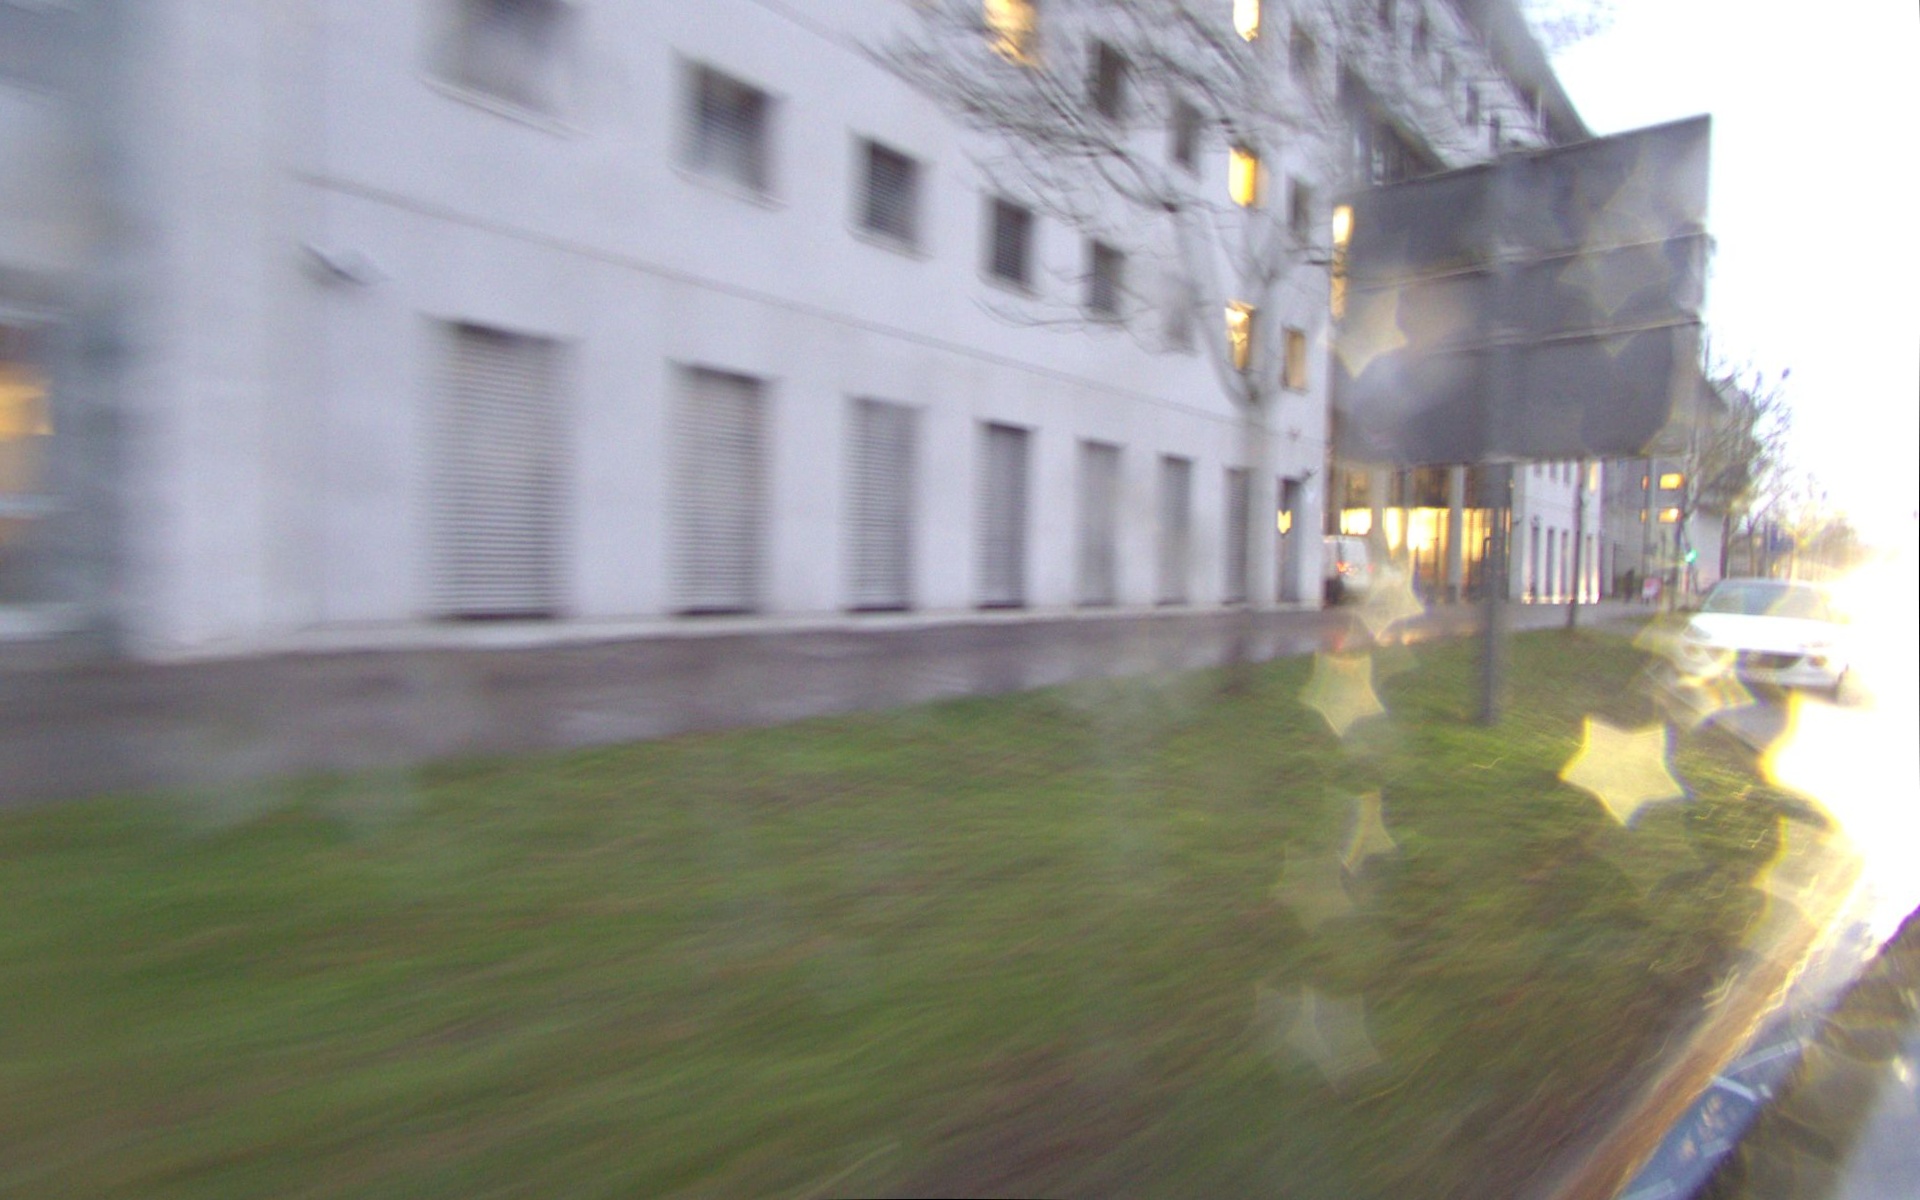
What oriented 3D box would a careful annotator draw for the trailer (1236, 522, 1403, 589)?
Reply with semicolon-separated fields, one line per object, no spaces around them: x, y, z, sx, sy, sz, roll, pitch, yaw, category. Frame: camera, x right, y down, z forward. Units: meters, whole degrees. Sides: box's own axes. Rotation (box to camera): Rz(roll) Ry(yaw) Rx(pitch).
15.072;-1.895;42.700;6.248;2.613;2.179;3;2;39;trailer

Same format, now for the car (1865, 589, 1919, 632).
40.261;0.424;43.695;3.626;1.696;1.607;-3;2;-45;car

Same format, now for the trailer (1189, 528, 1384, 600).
9.454;-1.031;29.692;2.093;1.935;5.076;1;1;-42;trailer

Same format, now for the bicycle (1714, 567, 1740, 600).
27.998;-0.617;36.921;0.550;1.128;2.134;4;4;41;bicycle

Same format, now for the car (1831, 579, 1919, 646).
22.914;0.244;25.359;1.595;1.458;4.166;0;2;42;car

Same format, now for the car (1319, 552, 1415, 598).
13.572;-0.889;33.607;1.630;1.387;4.467;4;5;39;car

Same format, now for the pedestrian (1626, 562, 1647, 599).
32.352;-0.945;48.393;0.736;1.757;0.693;0;2;40;pedestrian

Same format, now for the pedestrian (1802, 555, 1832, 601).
35.432;-0.919;41.843;0.770;1.829;0.689;7;6;39;pedestrian

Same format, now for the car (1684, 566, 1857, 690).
11.045;0.293;13.714;1.591;1.411;3.434;4;3;42;car

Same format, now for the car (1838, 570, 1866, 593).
68.459;-1.422;77.666;1.489;1.613;3.939;0;2;43;car
